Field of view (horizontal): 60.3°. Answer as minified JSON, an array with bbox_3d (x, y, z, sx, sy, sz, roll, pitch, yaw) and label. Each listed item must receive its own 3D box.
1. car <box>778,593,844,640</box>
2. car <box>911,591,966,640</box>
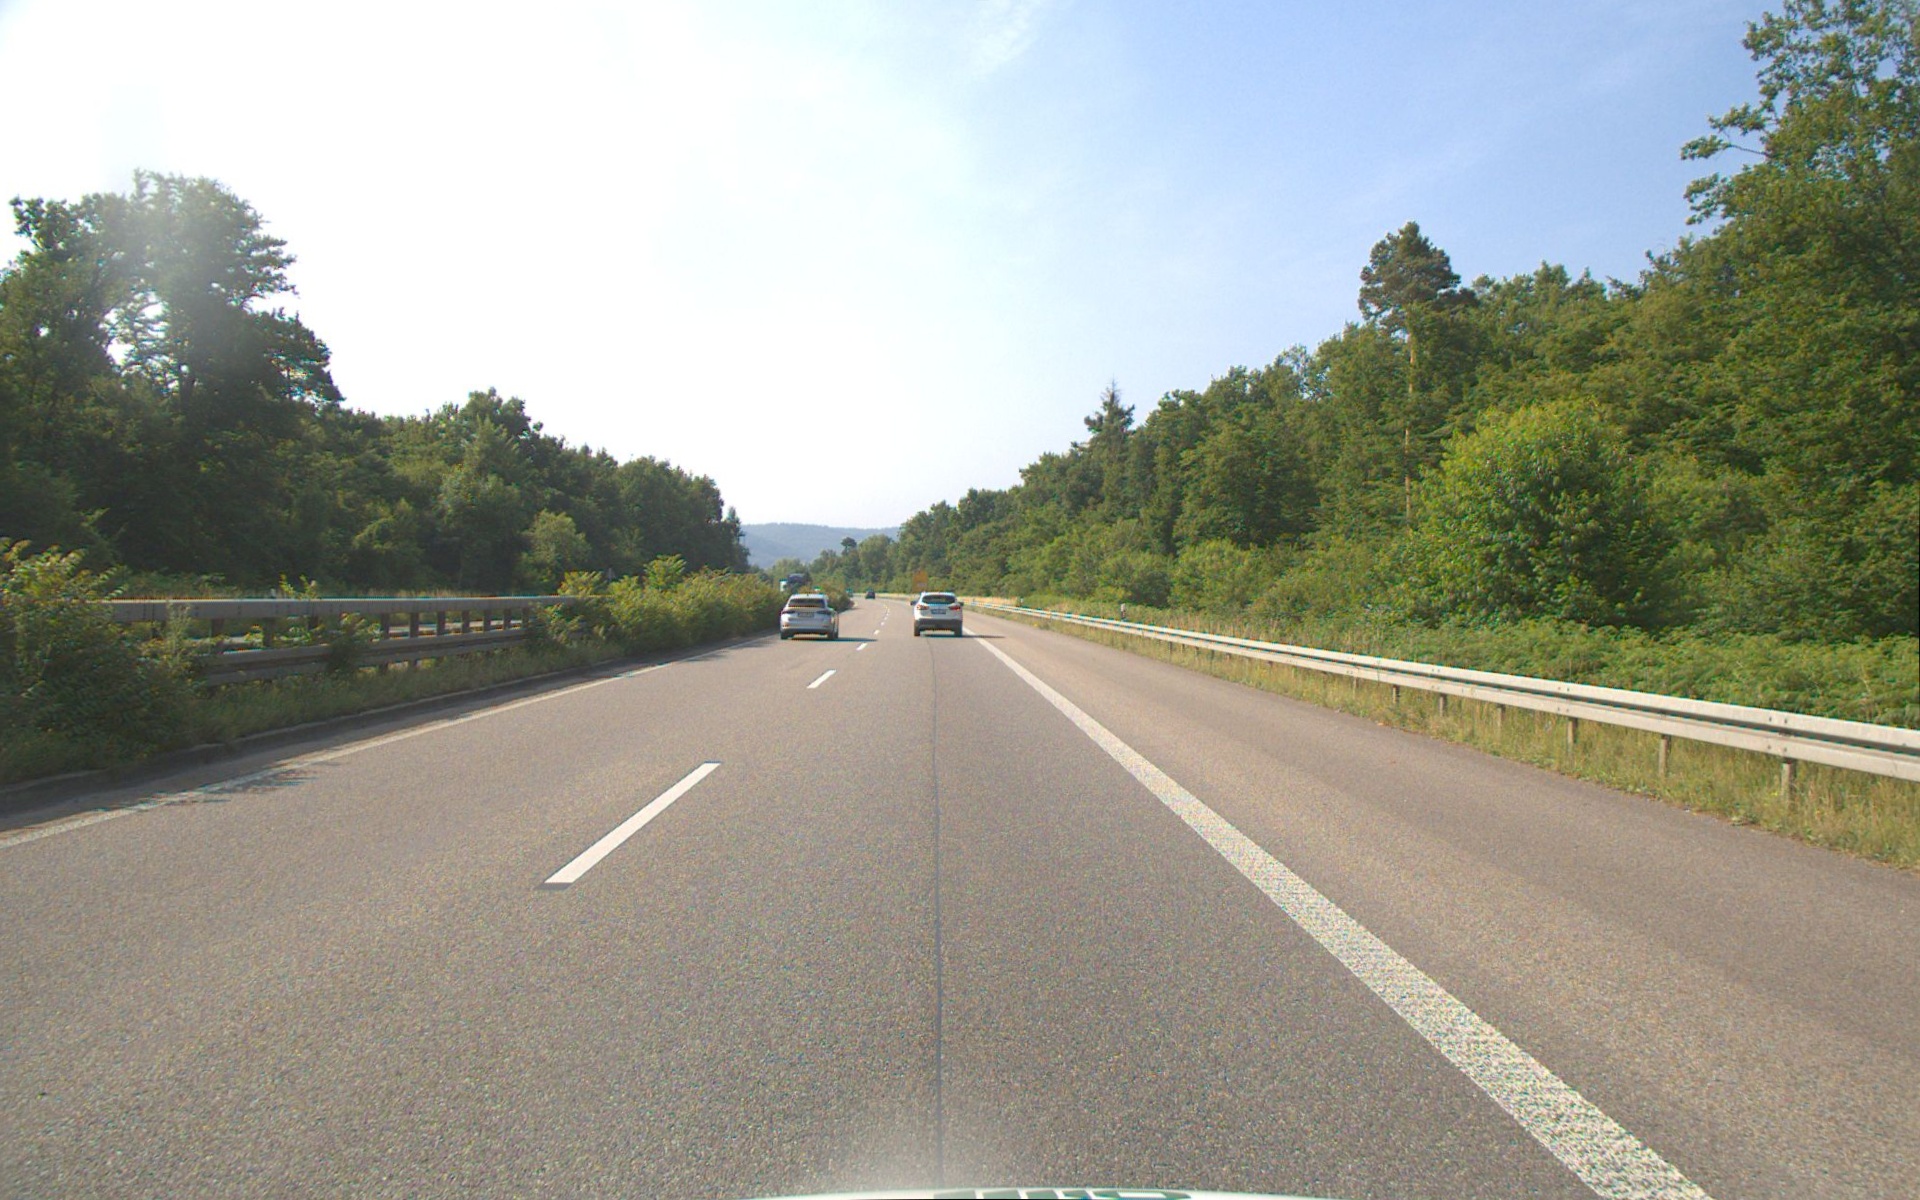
[{"bbox_3d":[-4.902,0.517,55.029,1.756,1.463,5.278,0,0,-1],"label":"car"},{"bbox_3d":[-0.837,0.538,60.887,1.836,1.613,3.998,3,1,-3],"label":"car"}]
